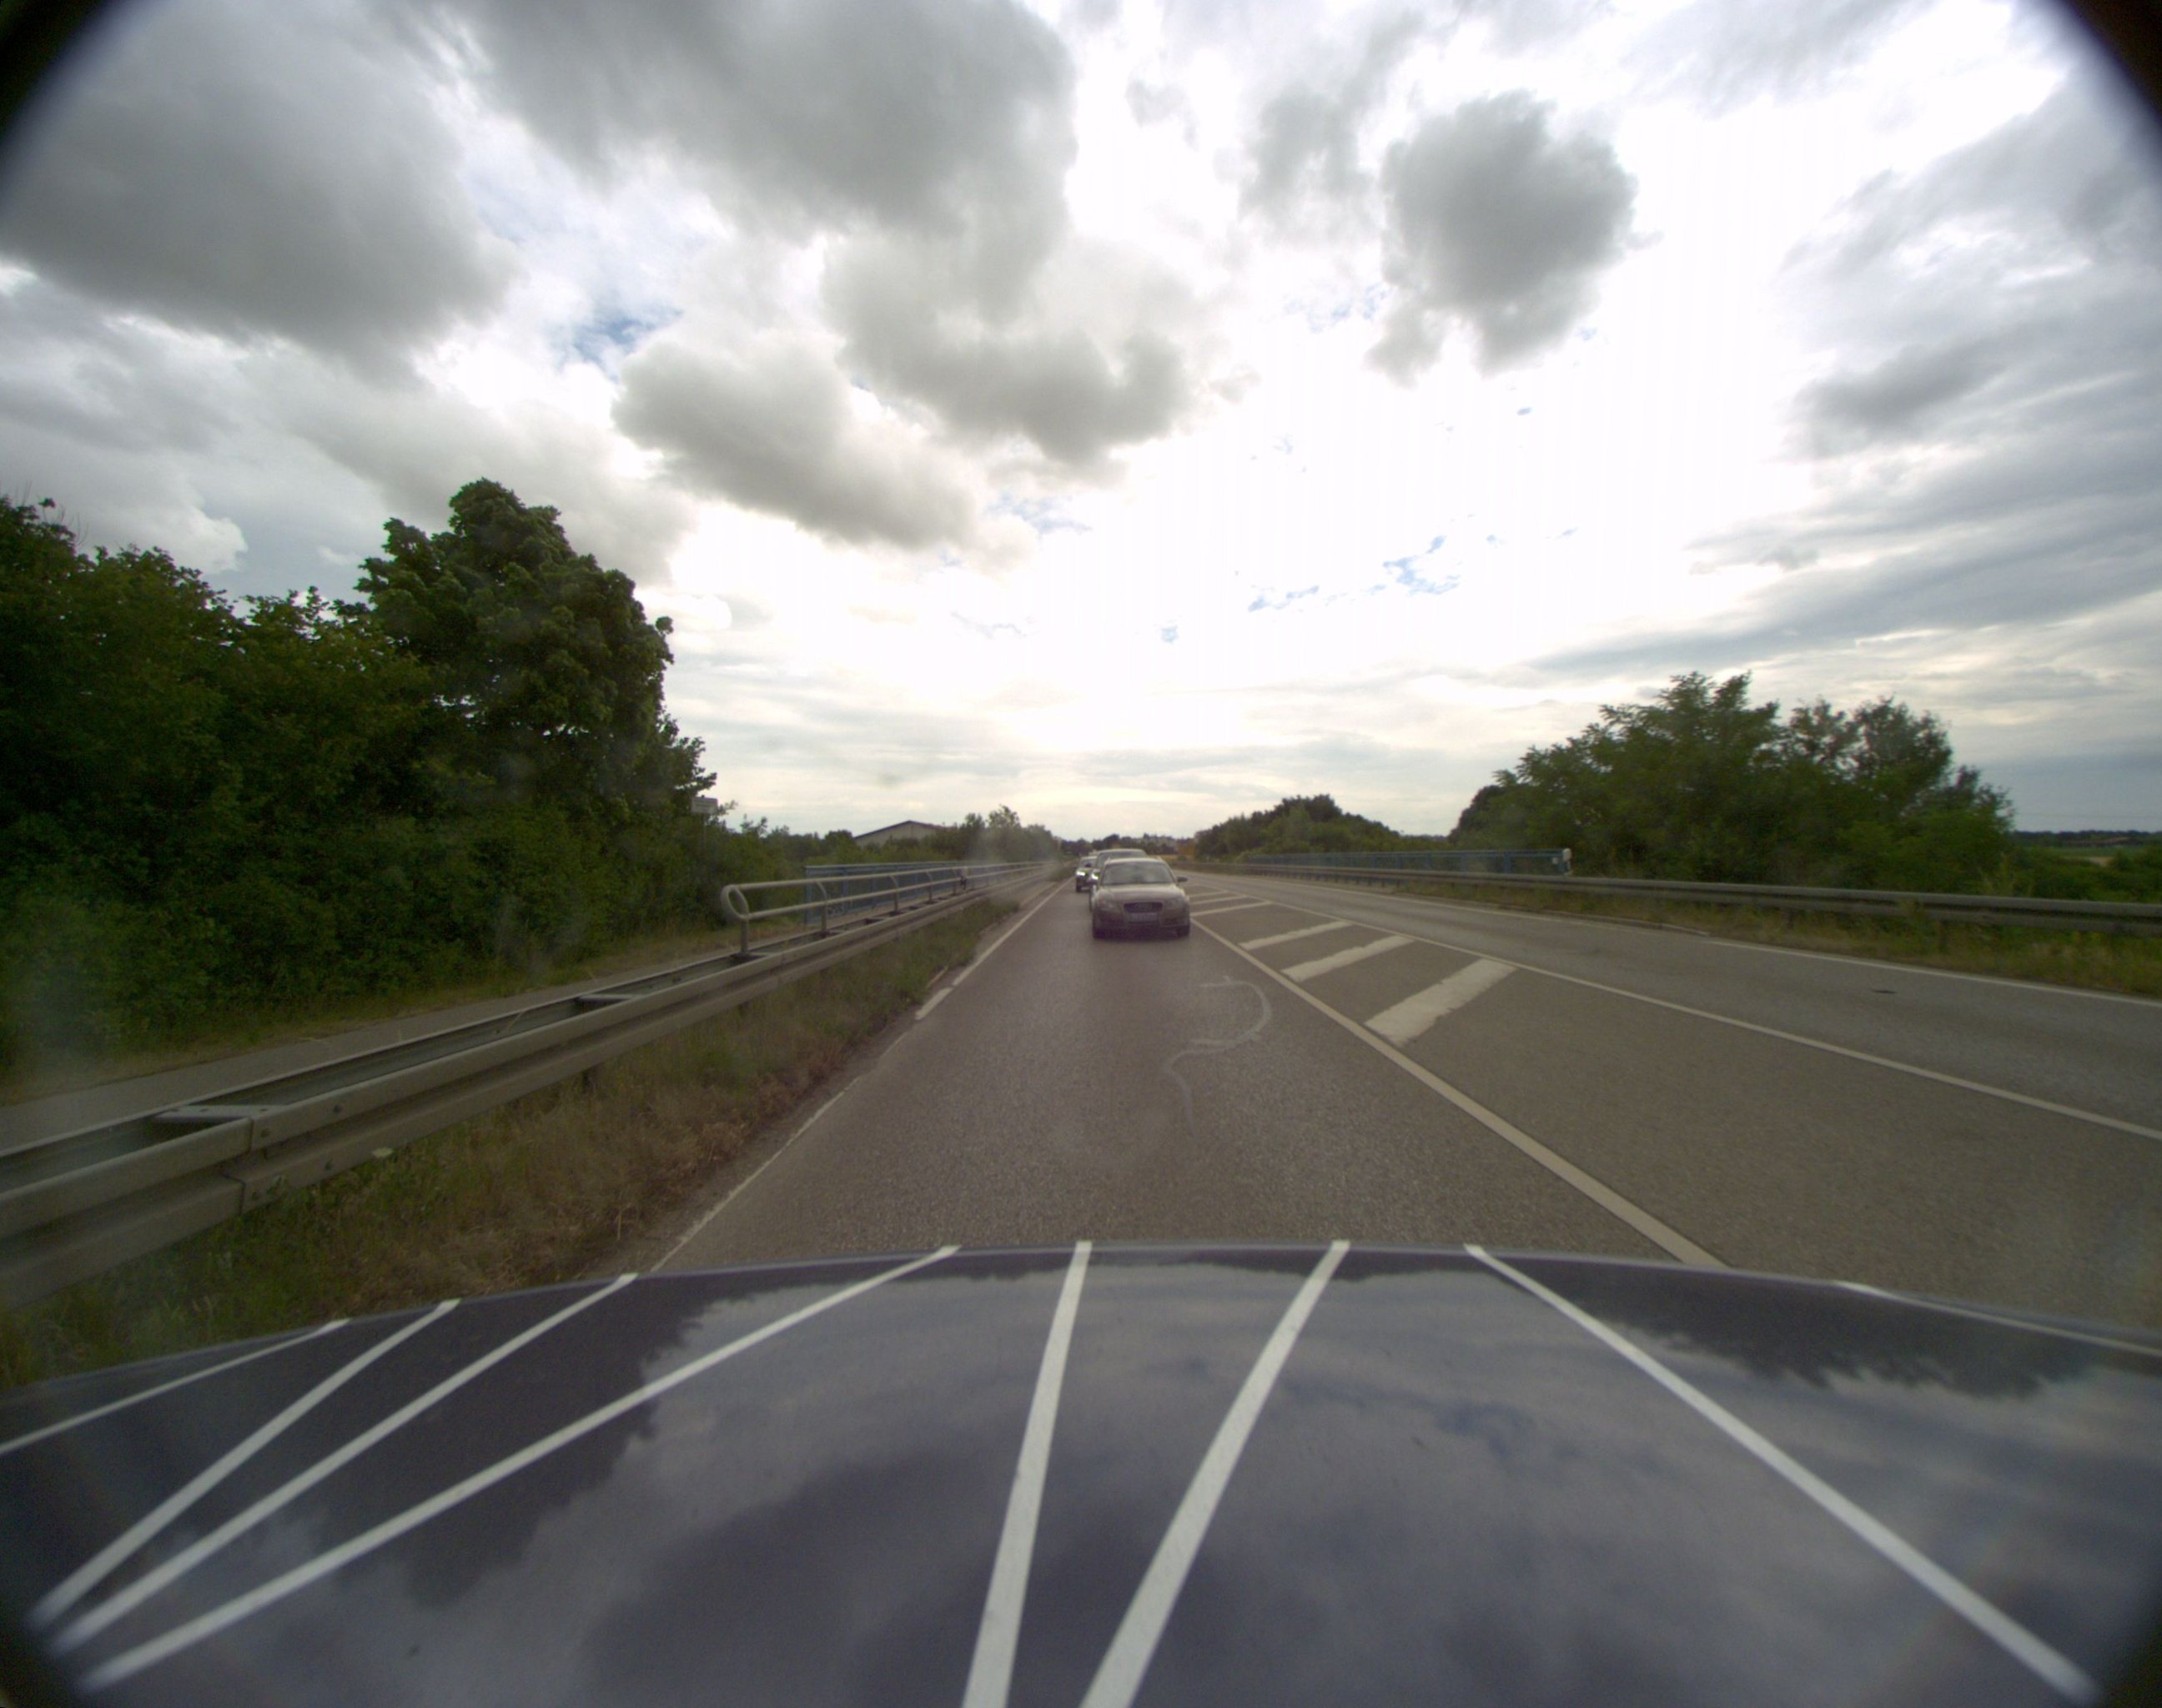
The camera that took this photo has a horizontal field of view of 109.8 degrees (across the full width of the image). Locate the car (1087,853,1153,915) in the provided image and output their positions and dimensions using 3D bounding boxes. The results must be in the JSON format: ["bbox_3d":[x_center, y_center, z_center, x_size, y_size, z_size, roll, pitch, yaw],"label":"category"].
[{"bbox_3d":[1.046,0.798,21.998,1.684,1.521,3.999,-2,1,1],"label":"car"}]

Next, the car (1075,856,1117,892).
[{"bbox_3d":[0.655,0.836,33.330,1.670,1.339,4.000,-2,1,1],"label":"car"}]

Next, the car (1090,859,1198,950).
[{"bbox_3d":[1.080,0.856,14.652,1.768,1.383,3.876,-2,1,1],"label":"car"}]
